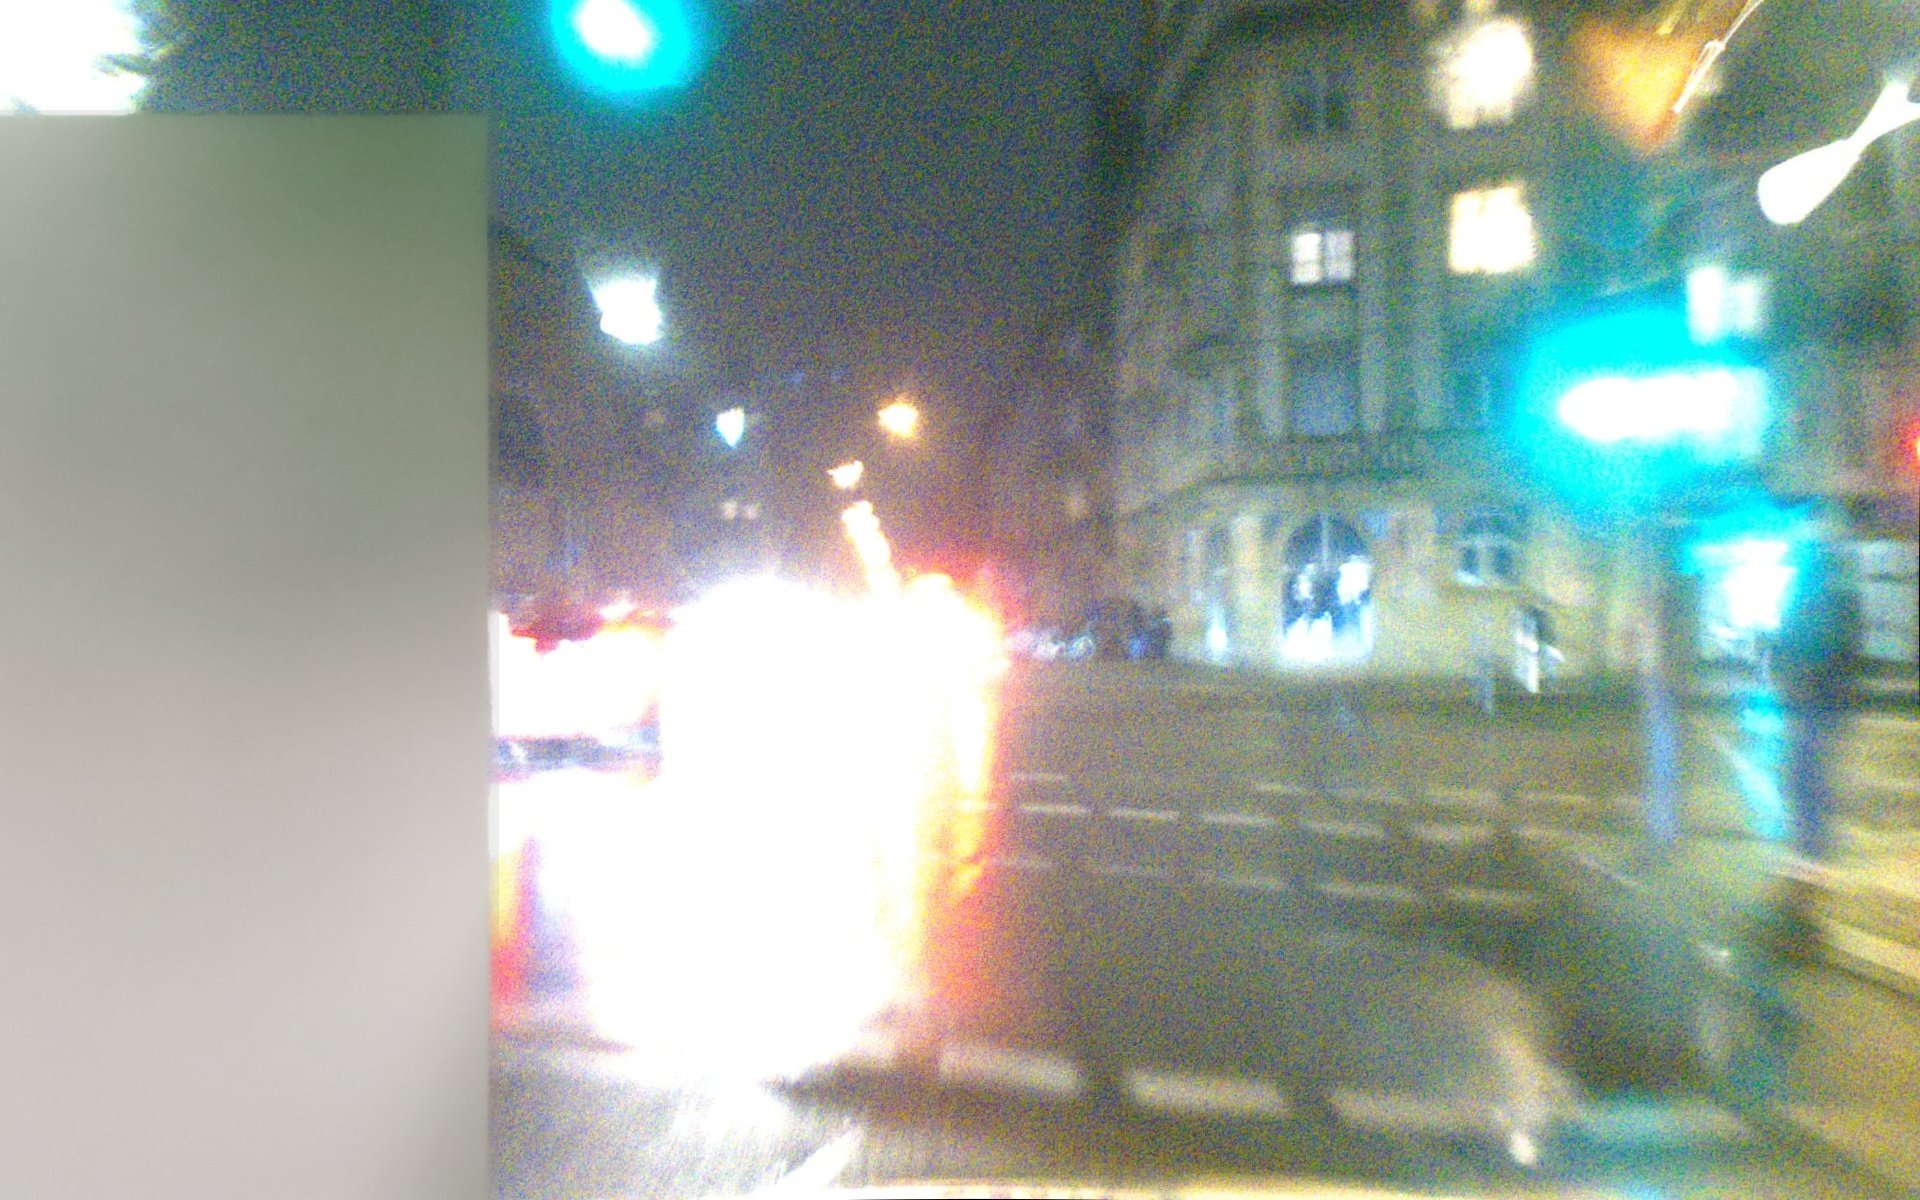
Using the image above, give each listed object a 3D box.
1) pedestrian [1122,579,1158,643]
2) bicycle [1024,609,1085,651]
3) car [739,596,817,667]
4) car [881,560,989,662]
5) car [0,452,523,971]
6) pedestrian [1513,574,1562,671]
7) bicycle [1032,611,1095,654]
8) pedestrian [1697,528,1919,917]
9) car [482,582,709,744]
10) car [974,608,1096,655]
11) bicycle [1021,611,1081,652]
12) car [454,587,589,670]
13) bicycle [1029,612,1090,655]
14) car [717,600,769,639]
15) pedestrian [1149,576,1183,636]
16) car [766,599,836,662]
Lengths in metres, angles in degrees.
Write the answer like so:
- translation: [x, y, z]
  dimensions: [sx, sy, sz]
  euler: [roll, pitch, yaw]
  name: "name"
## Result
- translation: [5.446, 0.328, 50.205]
  dimensions: [0.938, 1.915, 0.999]
  euler: [-1, 0, -2]
  name: "pedestrian"
- translation: [3.075, 0.977, 53.869]
  dimensions: [1.861, 1.273, 0.595]
  euler: [-2, -1, -8]
  name: "bicycle"
- translation: [-4.208, 0.728, 38.720]
  dimensions: [1.673, 1.569, 3.985]
  euler: [0, -1, -4]
  name: "car"
- translation: [-0.598, 0.237, 35.187]
  dimensions: [2.125, 2.006, 4.299]
  euler: [-1, -1, -3]
  name: "car"
- translation: [-4.127, 0.435, 8.998]
  dimensions: [1.992, 1.987, 5.200]
  euler: [-2, 1, 1]
  name: "car"
- translation: [12.543, 0.479, 35.907]
  dimensions: [0.954, 2.048, 1.016]
  euler: [-1, 2, 22]
  name: "pedestrian"
- translation: [3.266, 1.036, 52.174]
  dimensions: [1.861, 1.273, 0.709]
  euler: [-2, -1, -8]
  name: "bicycle"
- translation: [4.440, 0.584, 8.339]
  dimensions: [1.084, 1.857, 0.851]
  euler: [0, 0, 4]
  name: "pedestrian"
- translation: [-3.901, 0.633, 18.437]
  dimensions: [1.782, 1.569, 4.722]
  euler: [0, -1, -4]
  name: "car"
- translation: [2.648, 1.081, 58.077]
  dimensions: [4.148, 1.483, 1.830]
  euler: [-2, 0, -41]
  name: "car"
- translation: [3.005, 1.026, 54.503]
  dimensions: [1.861, 1.273, 0.595]
  euler: [-2, -1, -8]
  name: "bicycle"
- translation: [-10.194, 0.636, 38.771]
  dimensions: [1.852, 1.812, 4.334]
  euler: [-1, 0, 2]
  name: "car"
- translation: [3.197, 1.073, 53.188]
  dimensions: [1.861, 1.273, 0.595]
  euler: [-2, -1, -8]
  name: "bicycle"
- translation: [-11.688, 1.031, 88.894]
  dimensions: [1.962, 2.006, 4.276]
  euler: [0, -1, -20]
  name: "car"
- translation: [5.719, 0.165, 45.901]
  dimensions: [0.765, 1.646, 0.999]
  euler: [-1, 0, -2]
  name: "pedestrian"
- translation: [-4.211, 0.803, 44.267]
  dimensions: [1.635, 1.589, 4.005]
  euler: [0, -1, -2]
  name: "car"
